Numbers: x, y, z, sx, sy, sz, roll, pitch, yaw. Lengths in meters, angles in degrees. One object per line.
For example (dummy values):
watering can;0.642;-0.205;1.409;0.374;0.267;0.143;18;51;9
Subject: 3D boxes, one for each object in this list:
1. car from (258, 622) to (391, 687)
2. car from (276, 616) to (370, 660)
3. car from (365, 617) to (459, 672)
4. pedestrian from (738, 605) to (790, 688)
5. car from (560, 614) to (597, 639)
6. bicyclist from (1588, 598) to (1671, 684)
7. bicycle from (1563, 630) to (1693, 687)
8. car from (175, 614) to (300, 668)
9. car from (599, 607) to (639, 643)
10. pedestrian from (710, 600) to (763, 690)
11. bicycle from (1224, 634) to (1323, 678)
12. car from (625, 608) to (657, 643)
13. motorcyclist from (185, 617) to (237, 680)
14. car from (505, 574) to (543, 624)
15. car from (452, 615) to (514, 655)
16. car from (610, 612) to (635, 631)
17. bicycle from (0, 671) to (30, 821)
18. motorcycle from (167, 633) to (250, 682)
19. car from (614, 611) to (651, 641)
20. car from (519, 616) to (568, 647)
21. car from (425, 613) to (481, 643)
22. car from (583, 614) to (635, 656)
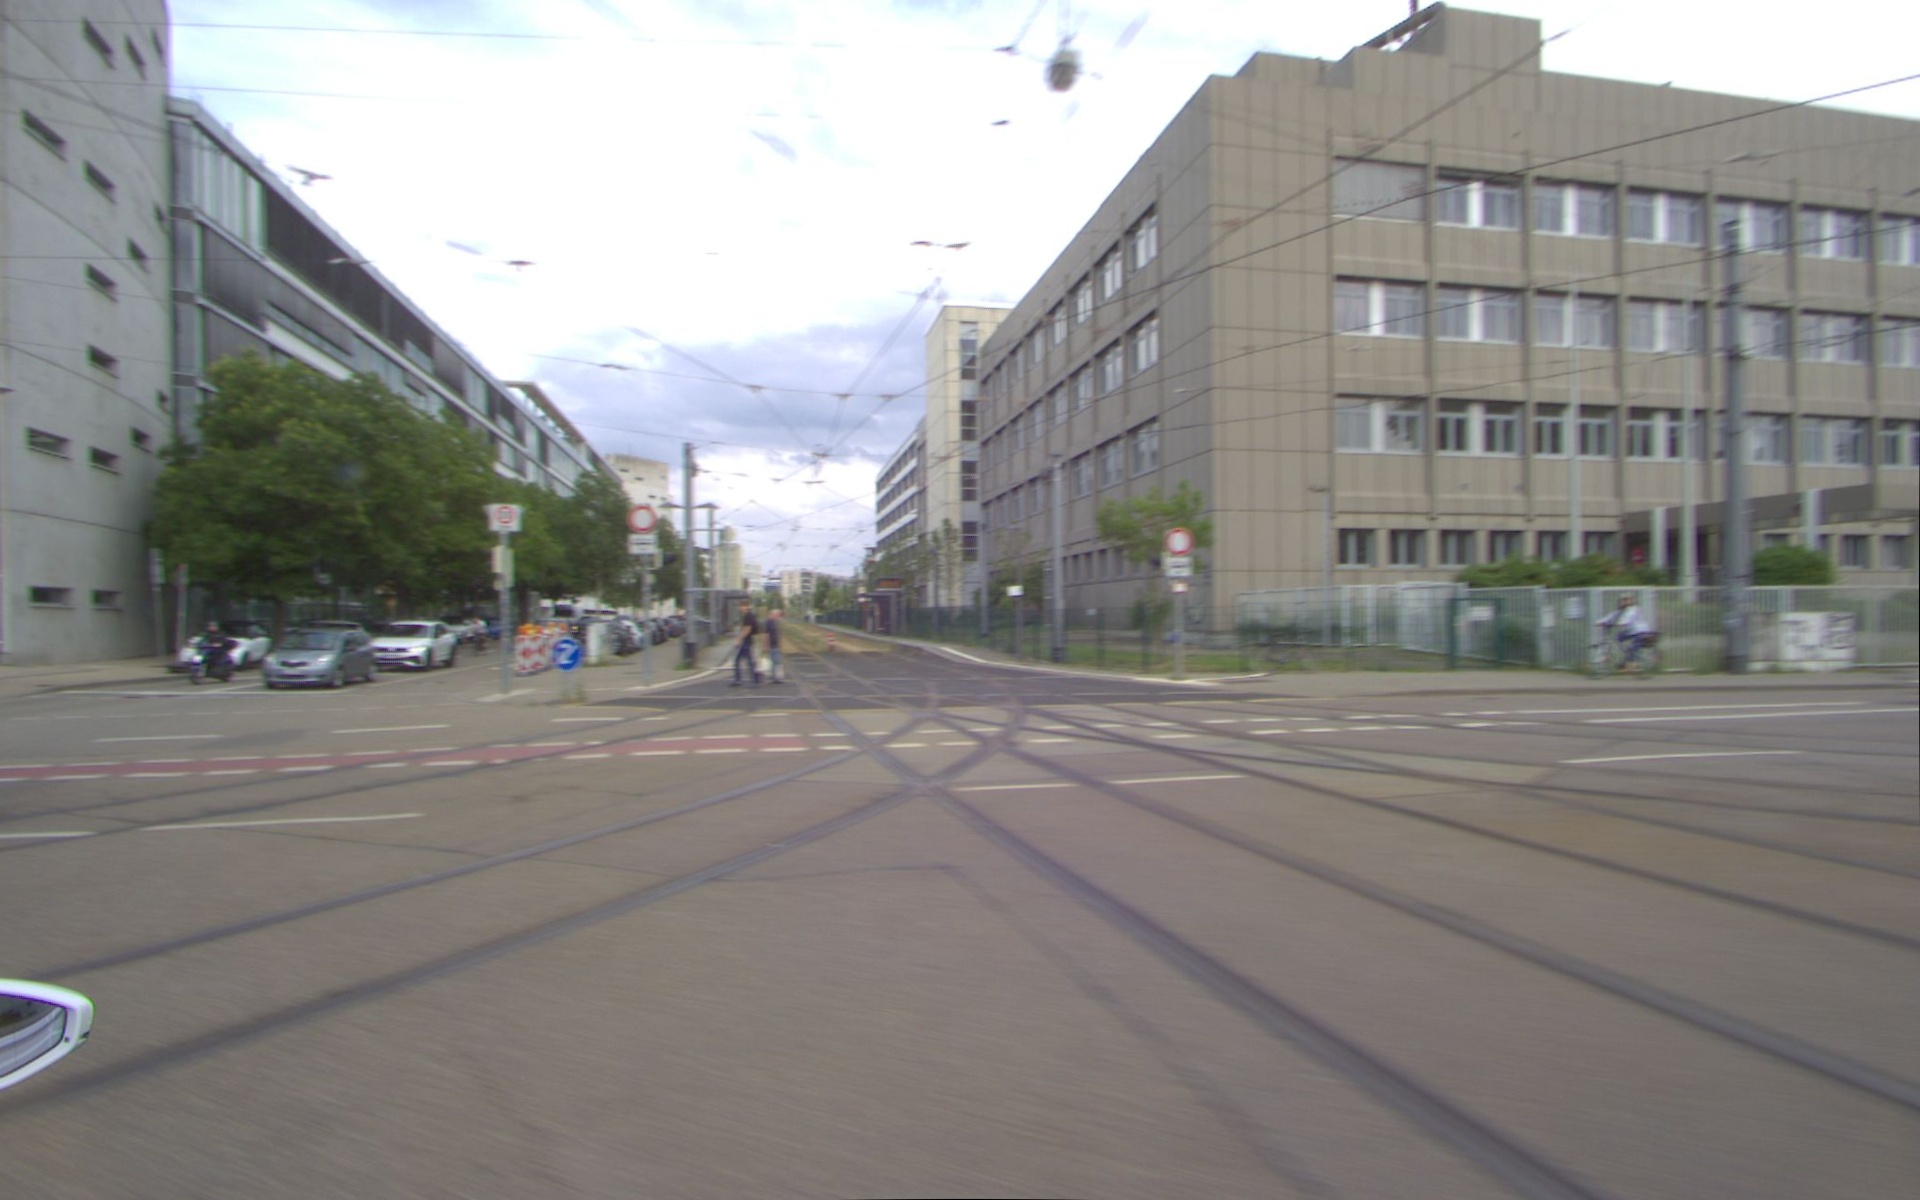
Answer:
car;-17.013;1.408;27.037;1.643;1.526;4.230;2;-1;-13
car;-25.430;1.465;40.158;1.802;1.577;4.212;2;-1;-13
car;-18.647;1.475;34.244;1.689;1.681;4.128;2;-1;-13
pedestrian;-4.551;1.056;23.279;0.973;1.880;0.902;0;0;4
car;-26.334;1.802;69.268;1.763;1.606;4.137;2;-1;-13
bicyclist;13.847;0.829;20.734;1.159;1.724;0.803;1;0;-1
bicycle;13.800;1.208;20.733;2.142;1.101;0.803;1;0;-1
car;-23.877;1.319;33.282;1.802;1.577;4.212;2;-1;-13
car;-16.263;1.159;47.882;1.680;1.627;4.071;0;0;-17
pedestrian;-4.875;0.970;21.906;1.068;1.923;0.901;0;0;-8
bicycle;7.412;1.332;23.702;2.128;0.993;0.631;-3;-1;32
car;-19.149;1.519;60.275;1.759;2.013;4.113;0;0;-17
motorcyclist;-20.188;1.298;27.019;0.807;1.638;0.881;1;0;-13
car;-33.283;-0.051;76.568;1.957;3.684;4.505;2;0;-15
car;-22.279;1.601;46.890;1.689;1.681;4.128;2;-1;-13
car;-31.908;2.023;94.870;1.763;1.606;4.137;2;-1;-13
bicycle;-8.212;1.097;7.691;2.096;1.101;0.800;0;0;24
motorcycle;-20.192;1.520;26.980;0.813;1.215;2.499;1;-1;-12
car;-18.105;1.405;55.521;1.841;1.627;4.205;0;0;-17
car;-23.972;1.770;57.754;1.875;1.606;4.176;2;-1;-13
car;-29.293;1.582;57.963;1.957;1.577;4.505;2;-1;-15
car;-14.802;1.429;42.409;1.852;1.650;4.079;0;0;-17
